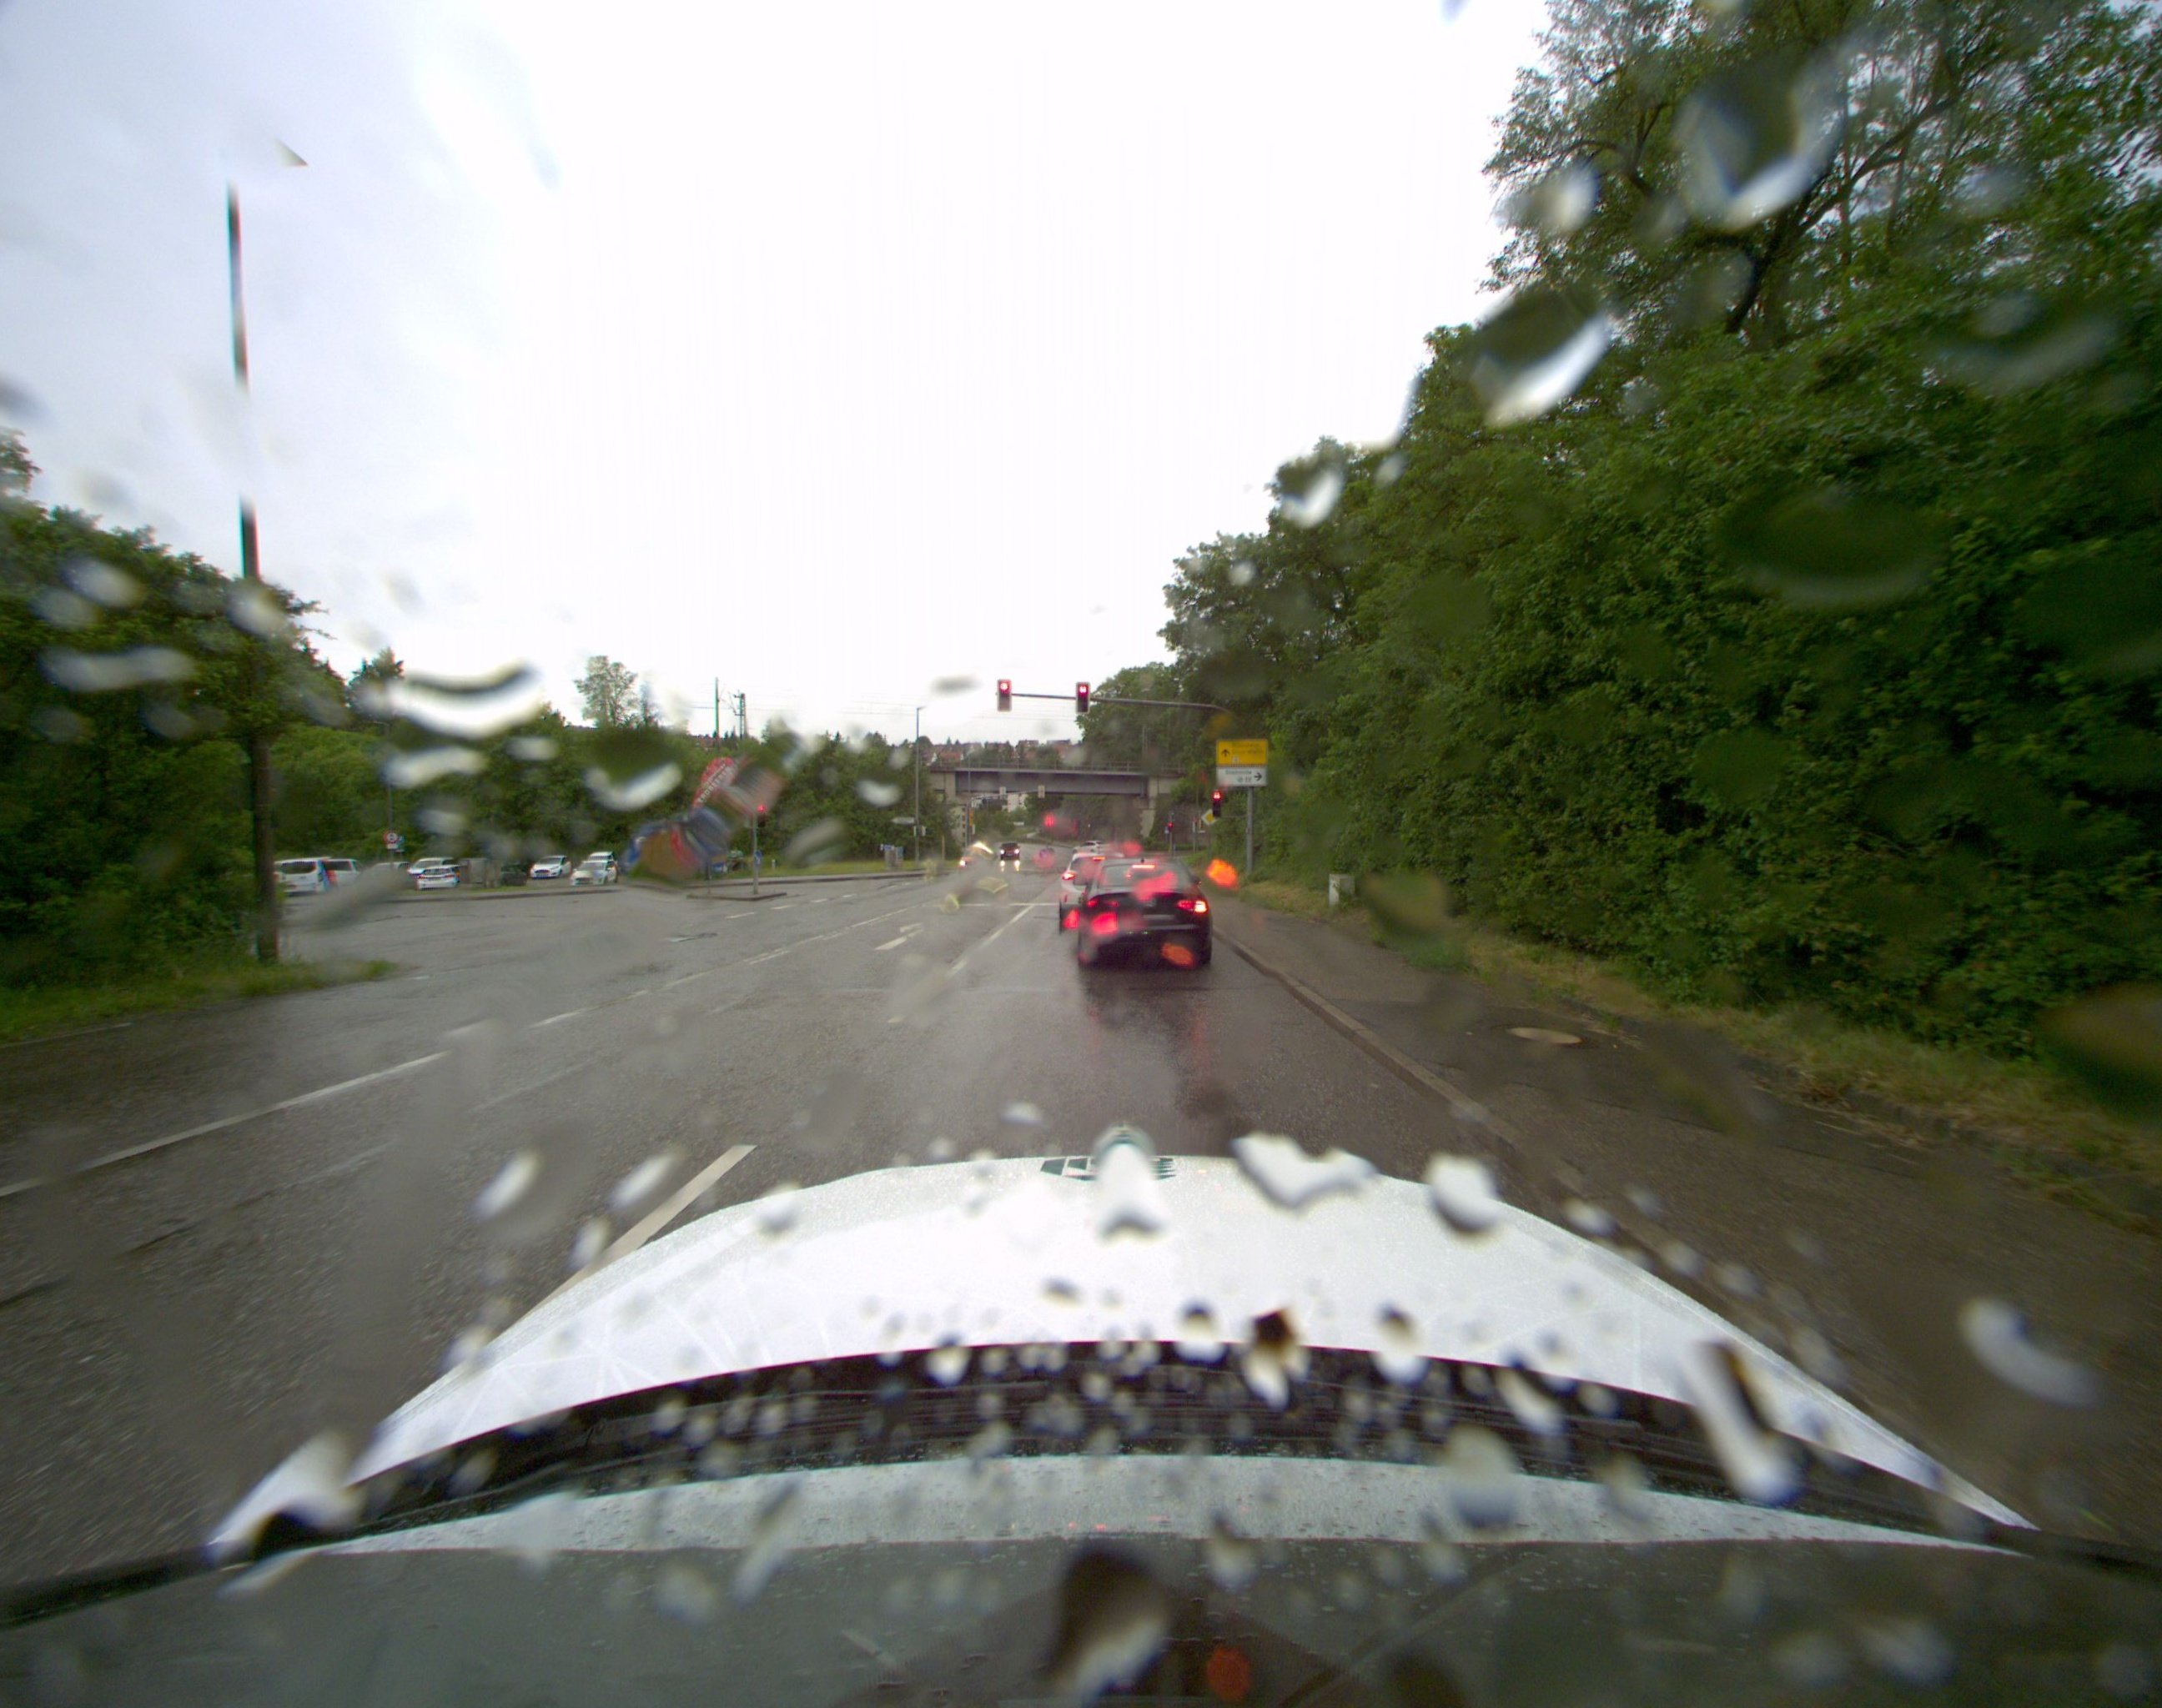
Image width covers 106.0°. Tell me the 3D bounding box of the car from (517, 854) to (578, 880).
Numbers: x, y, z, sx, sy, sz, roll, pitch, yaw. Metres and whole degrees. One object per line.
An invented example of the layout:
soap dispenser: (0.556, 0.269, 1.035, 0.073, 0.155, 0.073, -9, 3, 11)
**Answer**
car: (-35.373, 0.857, 54.143, 1.994, 1.585, 3.984, -1, -1, -11)

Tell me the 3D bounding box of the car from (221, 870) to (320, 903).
car: (-41.679, 1.625, 42.012, 1.858, 1.585, 3.978, -1, -1, -16)

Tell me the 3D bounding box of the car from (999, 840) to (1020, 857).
car: (-6.987, -0.540, 79.596, 1.990, 1.628, 3.993, -2, 1, -5)

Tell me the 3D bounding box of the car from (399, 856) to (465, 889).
car: (-41.861, 1.136, 52.641, 1.941, 2.013, 3.849, -1, 0, -15)

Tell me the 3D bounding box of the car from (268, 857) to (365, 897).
car: (-39.394, 1.145, 42.089, 1.997, 1.949, 3.978, -1, -1, -16)

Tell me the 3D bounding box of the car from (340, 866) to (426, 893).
car: (-37.117, 1.333, 43.437, 1.751, 1.310, 3.984, -1, -1, -11)

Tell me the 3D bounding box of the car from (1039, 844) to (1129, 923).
car: (0.118, 0.623, 18.600, 1.816, 1.585, 4.001, -1, -1, 1)

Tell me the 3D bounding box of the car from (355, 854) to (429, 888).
car: (-44.736, 1.074, 53.002, 1.995, 2.013, 3.983, -2, 0, -12)

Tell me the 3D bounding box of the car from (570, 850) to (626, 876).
car: (-32.583, 0.581, 55.037, 1.995, 1.585, 3.985, -2, 1, -11)

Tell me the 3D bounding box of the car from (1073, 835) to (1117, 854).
car: (1.385, -0.960, 81.321, 1.821, 1.742, 4.425, 0, -1, -44)

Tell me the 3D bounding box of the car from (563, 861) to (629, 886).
car: (-27.658, 1.090, 46.609, 1.652, 1.340, 4.883, -1, -1, -11)

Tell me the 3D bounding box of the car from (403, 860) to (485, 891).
car: (-34.520, 1.150, 44.260, 1.937, 1.585, 3.892, -1, -1, -11)

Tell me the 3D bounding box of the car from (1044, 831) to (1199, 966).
car: (0.552, 0.530, 11.958, 1.863, 1.616, 4.002, -1, 0, 1)

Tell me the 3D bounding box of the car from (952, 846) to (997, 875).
car: (-6.161, 0.370, 47.508, 1.986, 1.585, 4.001, -1, -1, 1)

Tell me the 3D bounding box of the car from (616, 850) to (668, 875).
car: (-30.349, 0.562, 56.443, 1.995, 1.585, 3.985, -2, 1, -11)
